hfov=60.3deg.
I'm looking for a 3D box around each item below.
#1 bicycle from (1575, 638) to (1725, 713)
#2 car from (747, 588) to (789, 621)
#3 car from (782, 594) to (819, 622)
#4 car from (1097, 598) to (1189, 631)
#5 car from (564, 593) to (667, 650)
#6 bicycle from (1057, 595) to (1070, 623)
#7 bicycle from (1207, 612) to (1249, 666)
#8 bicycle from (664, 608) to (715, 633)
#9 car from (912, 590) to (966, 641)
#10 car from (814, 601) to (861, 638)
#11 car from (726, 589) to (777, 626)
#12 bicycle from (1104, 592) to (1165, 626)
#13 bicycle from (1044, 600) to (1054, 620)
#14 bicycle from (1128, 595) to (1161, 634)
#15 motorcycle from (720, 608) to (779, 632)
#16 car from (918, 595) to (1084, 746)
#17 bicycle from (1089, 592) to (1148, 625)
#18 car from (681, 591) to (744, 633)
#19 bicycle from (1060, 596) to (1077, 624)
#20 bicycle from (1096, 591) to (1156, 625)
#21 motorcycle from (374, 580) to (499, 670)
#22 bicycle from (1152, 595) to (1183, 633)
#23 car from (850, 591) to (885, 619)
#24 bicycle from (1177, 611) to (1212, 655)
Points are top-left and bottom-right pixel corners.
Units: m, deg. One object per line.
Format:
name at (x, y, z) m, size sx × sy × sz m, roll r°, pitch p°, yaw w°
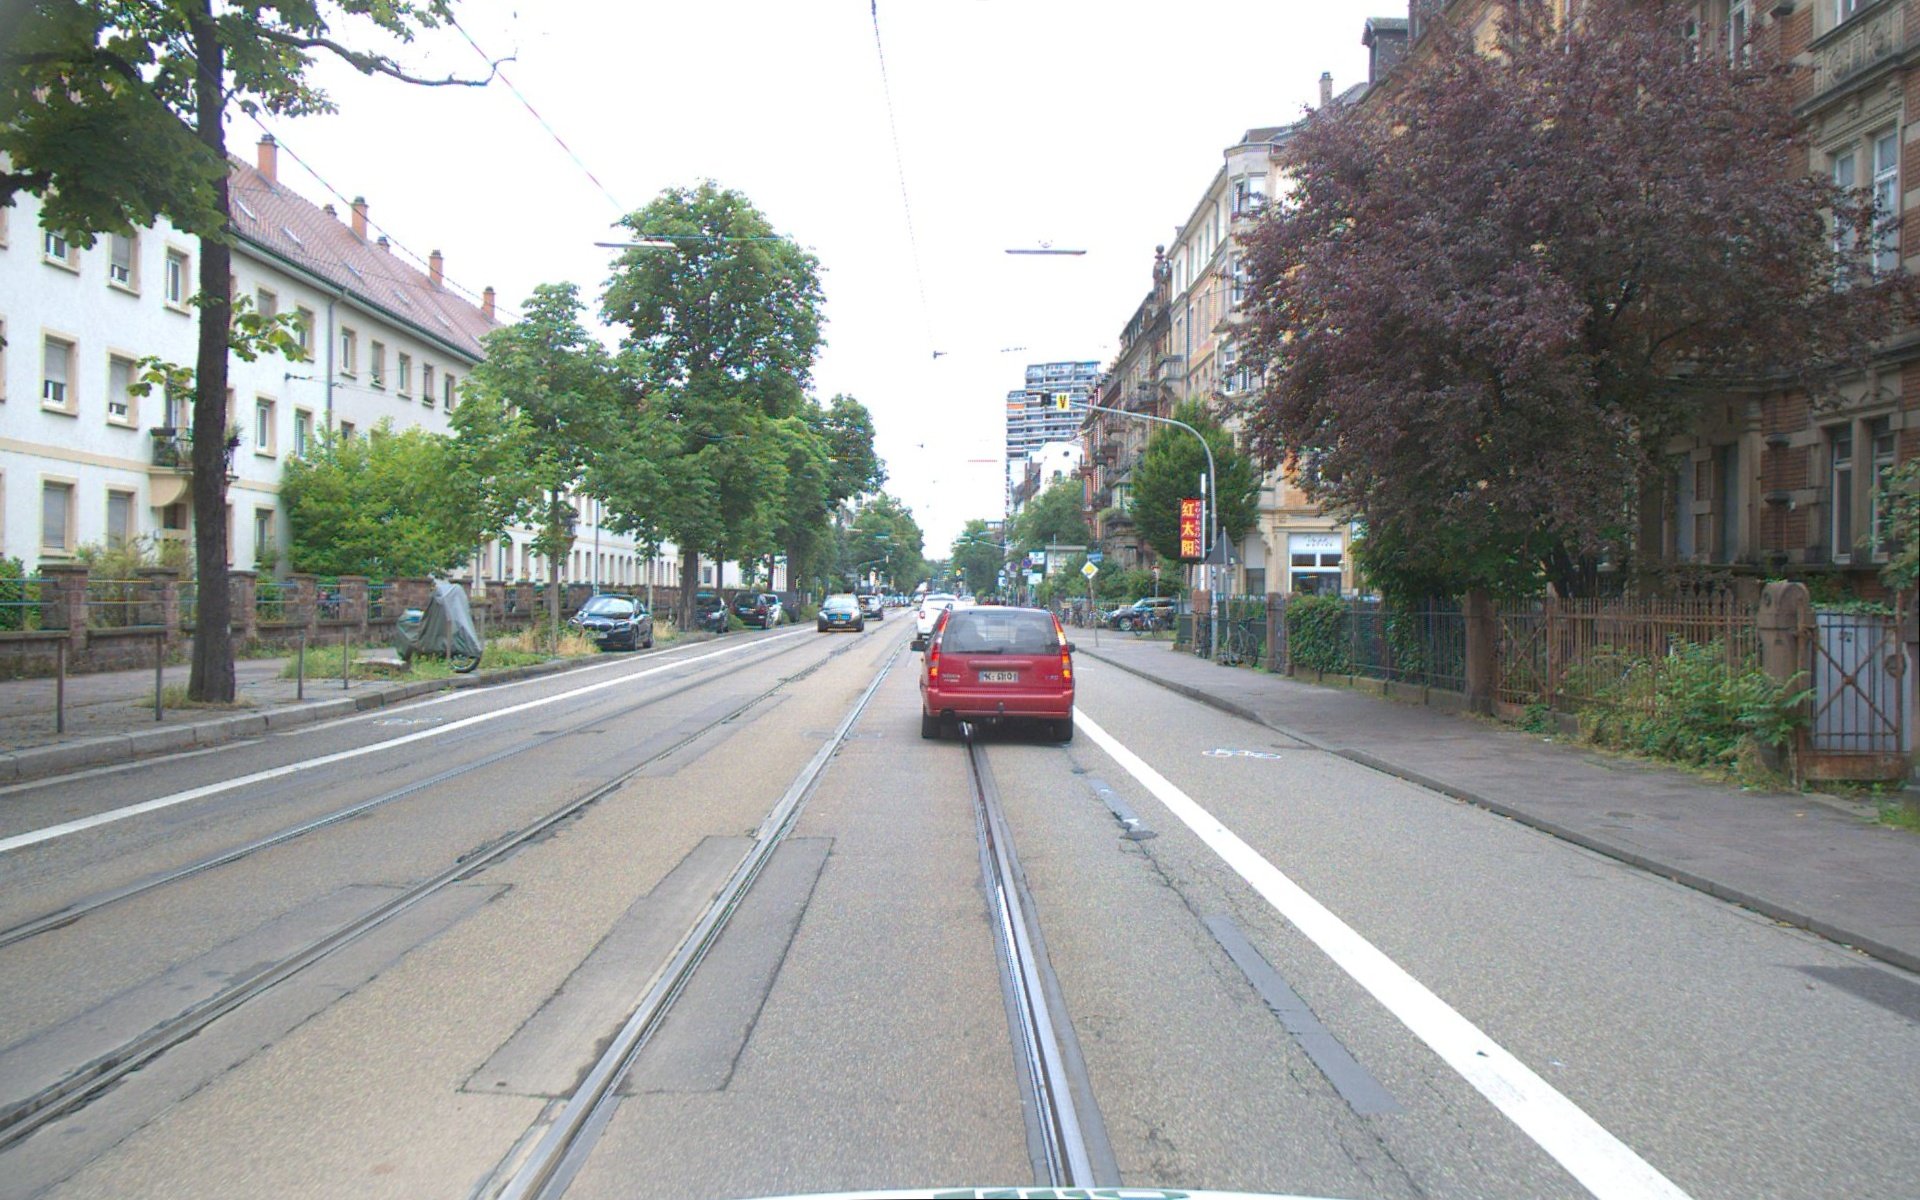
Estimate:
bicycle at (8.350, 0.908, 20.056) m, size 1.582 × 0.879 × 0.555 m, roll 0°, pitch 0°, yaw 7°
car at (-9.976, 0.233, 86.083) m, size 1.678 × 1.608 × 4.000 m, roll 2°, pitch 0°, yaw -1°
car at (-8.753, 0.416, 90.964) m, size 1.685 × 1.512 × 4.000 m, roll 0°, pitch 0°, yaw -1°
car at (8.040, 0.605, 72.512) m, size 3.902 × 1.385 × 1.894 m, roll 1°, pitch 0°, yaw 9°
car at (-9.258, 0.544, 44.784) m, size 1.851 × 1.422 × 4.417 m, roll 1°, pitch 0°, yaw 0°
bicycle at (5.406, 0.461, 86.291) m, size 0.540 × 1.424 × 1.733 m, roll 0°, pitch 0°, yaw -1°
bicycle at (5.806, 0.824, 35.968) m, size 0.512 × 1.119 × 2.176 m, roll 1°, pitch 0°, yaw -1°
bicycle at (-9.768, 0.738, 59.766) m, size 1.713 × 0.858 × 0.684 m, roll 1°, pitch 0°, yaw 0°
car at (-0.695, 0.493, 56.661) m, size 1.683 × 1.653 × 3.941 m, roll 1°, pitch 0°, yaw 1°
car at (-4.935, 0.755, 67.074) m, size 1.720 × 1.404 × 4.025 m, roll 1°, pitch 0°, yaw -2°
car at (-9.351, 0.310, 74.542) m, size 1.813 × 1.590 × 3.942 m, roll 1°, pitch 0°, yaw -1°
bicycle at (8.796, 0.461, 83.620) m, size 2.916 × 1.653 × 1.049 m, roll 1°, pitch 0°, yaw -3°
bicycle at (5.170, 0.569, 96.154) m, size 0.480 × 1.118 × 1.733 m, roll 0°, pitch 0°, yaw -1°
bicycle at (7.445, 0.558, 66.729) m, size 0.898 × 1.533 × 2.382 m, roll 1°, pitch 0°, yaw 16°
motorcycle at (-10.300, 0.978, 80.870) m, size 2.815 × 1.096 × 1.098 m, roll 0°, pitch 0°, yaw -8°
car at (0.390, 0.713, 18.714) m, size 1.655 × 1.466 × 3.742 m, roll 2°, pitch 0°, yaw -1°
bicycle at (8.288, 0.438, 86.600) m, size 2.916 × 1.653 × 1.049 m, roll 1°, pitch 0°, yaw -3°
car at (-9.176, 0.426, 61.560) m, size 1.682 × 1.508 × 4.000 m, roll 1°, pitch 0°, yaw 1°
bicycle at (5.435, 0.492, 82.606) m, size 0.694 × 1.323 × 1.904 m, roll 0°, pitch 0°, yaw -1°
bicycle at (8.522, 0.397, 84.856) m, size 2.916 × 1.653 × 1.049 m, roll 1°, pitch 0°, yaw -3°
motorcycle at (-9.344, 0.431, 29.499) m, size 2.225 × 1.538 × 0.924 m, roll 1°, pitch -2°, yaw 34°
bicycle at (8.533, 0.559, 67.896) m, size 0.898 × 1.533 × 2.382 m, roll 1°, pitch 0°, yaw 16°
car at (-5.476, 0.281, 98.238) m, size 1.855 × 1.639 × 4.499 m, roll 1°, pitch 0°, yaw -1°
bicycle at (5.781, 0.799, 40.845) m, size 0.512 × 1.048 × 2.176 m, roll 0°, pitch 0°, yaw -1°
